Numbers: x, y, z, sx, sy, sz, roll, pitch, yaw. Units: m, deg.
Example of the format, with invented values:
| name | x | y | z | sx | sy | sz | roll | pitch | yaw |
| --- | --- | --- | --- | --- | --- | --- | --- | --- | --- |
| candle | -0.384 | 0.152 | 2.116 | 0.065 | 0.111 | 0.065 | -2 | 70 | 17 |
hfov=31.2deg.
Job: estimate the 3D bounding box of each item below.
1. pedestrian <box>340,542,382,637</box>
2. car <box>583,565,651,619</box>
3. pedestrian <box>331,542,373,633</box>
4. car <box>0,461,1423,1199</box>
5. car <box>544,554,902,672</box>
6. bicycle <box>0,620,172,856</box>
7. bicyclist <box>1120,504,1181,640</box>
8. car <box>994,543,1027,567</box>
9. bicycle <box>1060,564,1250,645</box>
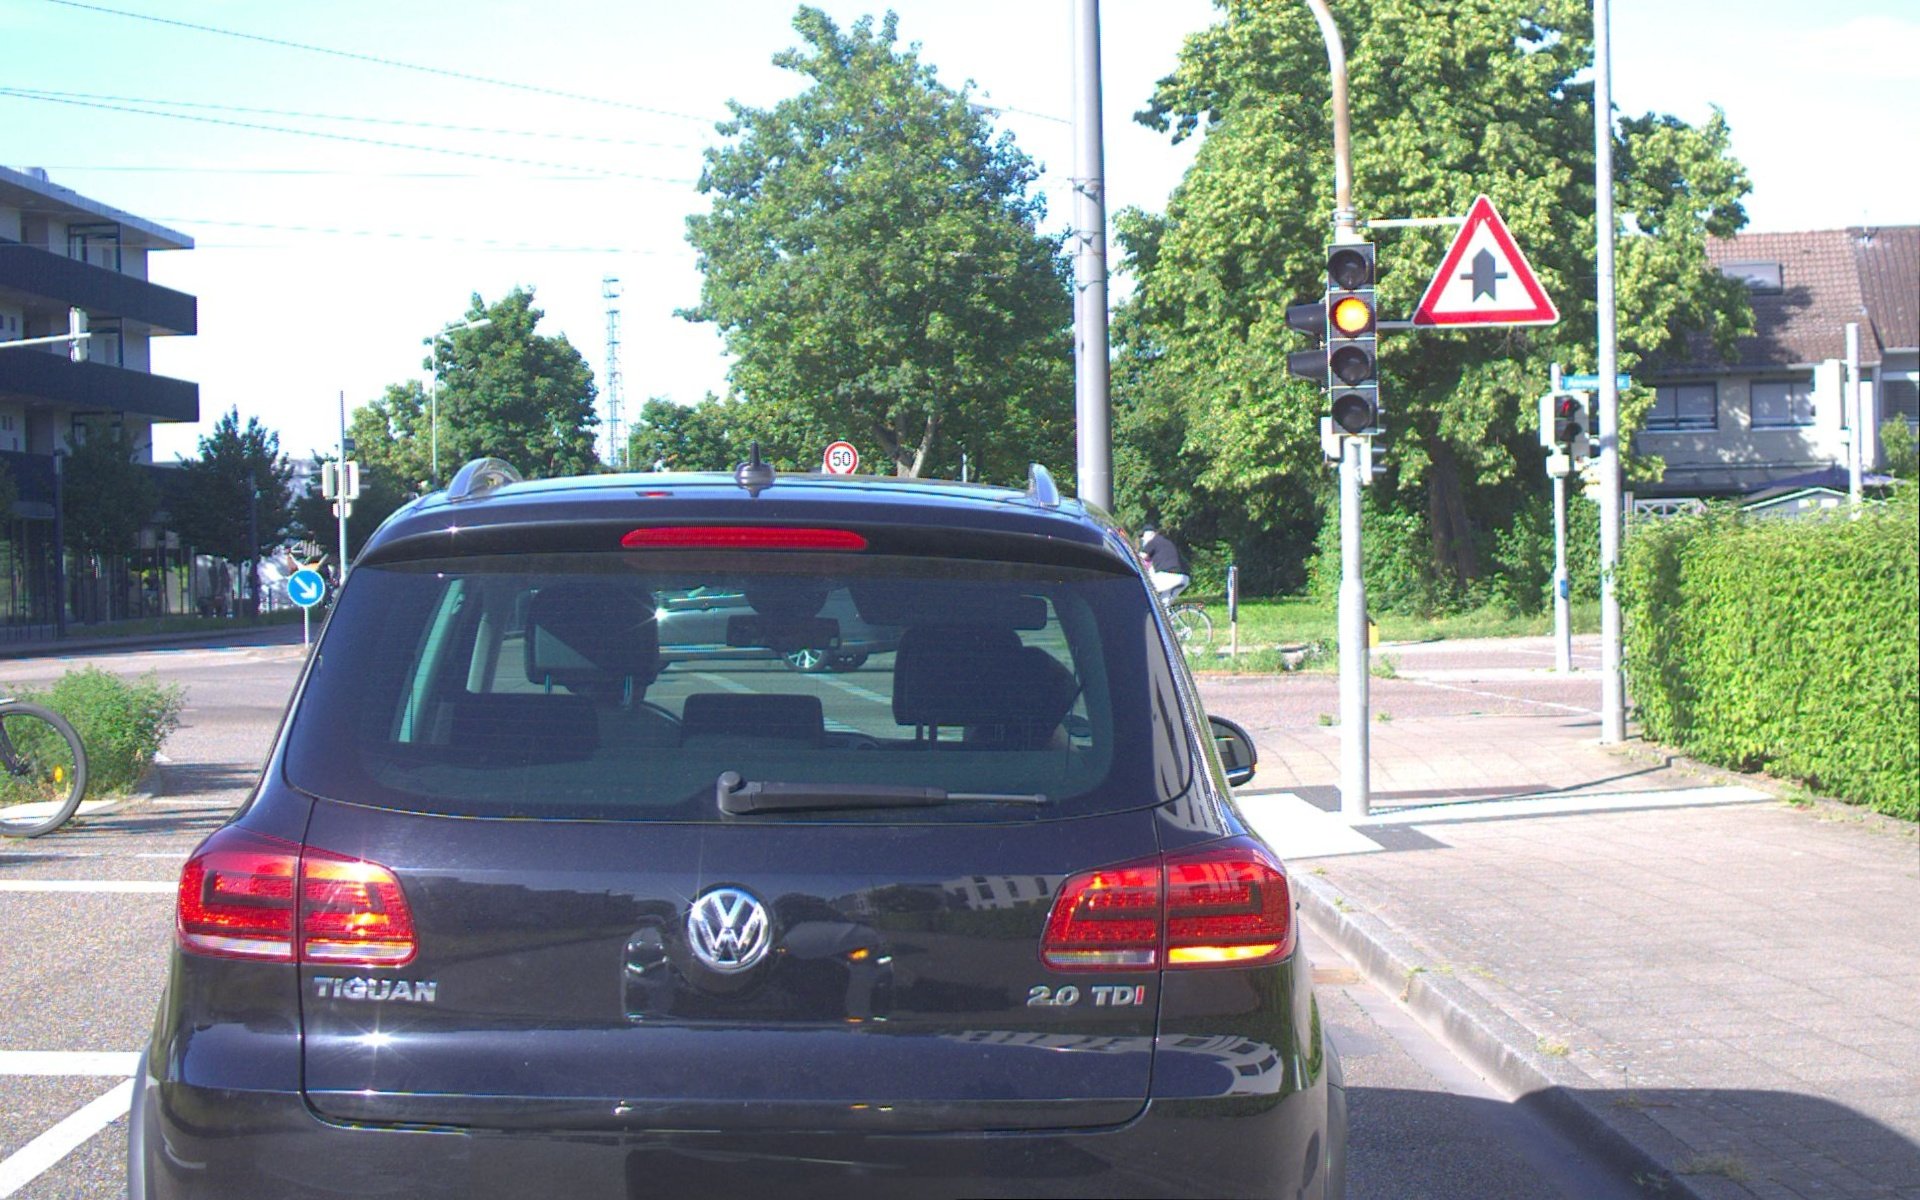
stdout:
| name | x | y | z | sx | sy | sz | roll | pitch | yaw |
| --- | --- | --- | --- | --- | --- | --- | --- | --- | --- |
| pedestrian | -10.466 | -0.188 | 60.052 | 0.603 | 1.634 | 0.529 | 0 | 1 | 4 |
| car | -10.826 | -0.275 | 108.813 | 1.656 | 1.634 | 4.000 | 0 | 1 | 1 |
| pedestrian | -10.513 | -0.222 | 59.486 | 0.603 | 1.559 | 0.529 | 0 | 1 | 4 |
| car | -0.414 | 0.607 | 6.493 | 1.905 | 1.637 | 4.000 | 0 | 1 | -2 |
| car | -3.101 | 0.149 | 45.557 | 4.498 | 1.499 | 2.000 | 0 | 1 | 4 |
| bicycle | -6.174 | 0.672 | 18.334 | 3.682 | 1.170 | 0.999 | 2 | 1 | -2 |
| bicyclist | 2.541 | -0.379 | 45.929 | 0.803 | 1.800 | 0.684 | 0 | 1 | 3 |
| car | 2.980 | -2.632 | 202.610 | 1.751 | 1.382 | 4.000 | 0 | 1 | -2 |
| bicycle | 2.597 | 0.055 | 45.915 | 2.504 | 1.056 | 0.776 | 0 | 1 | 3 |
